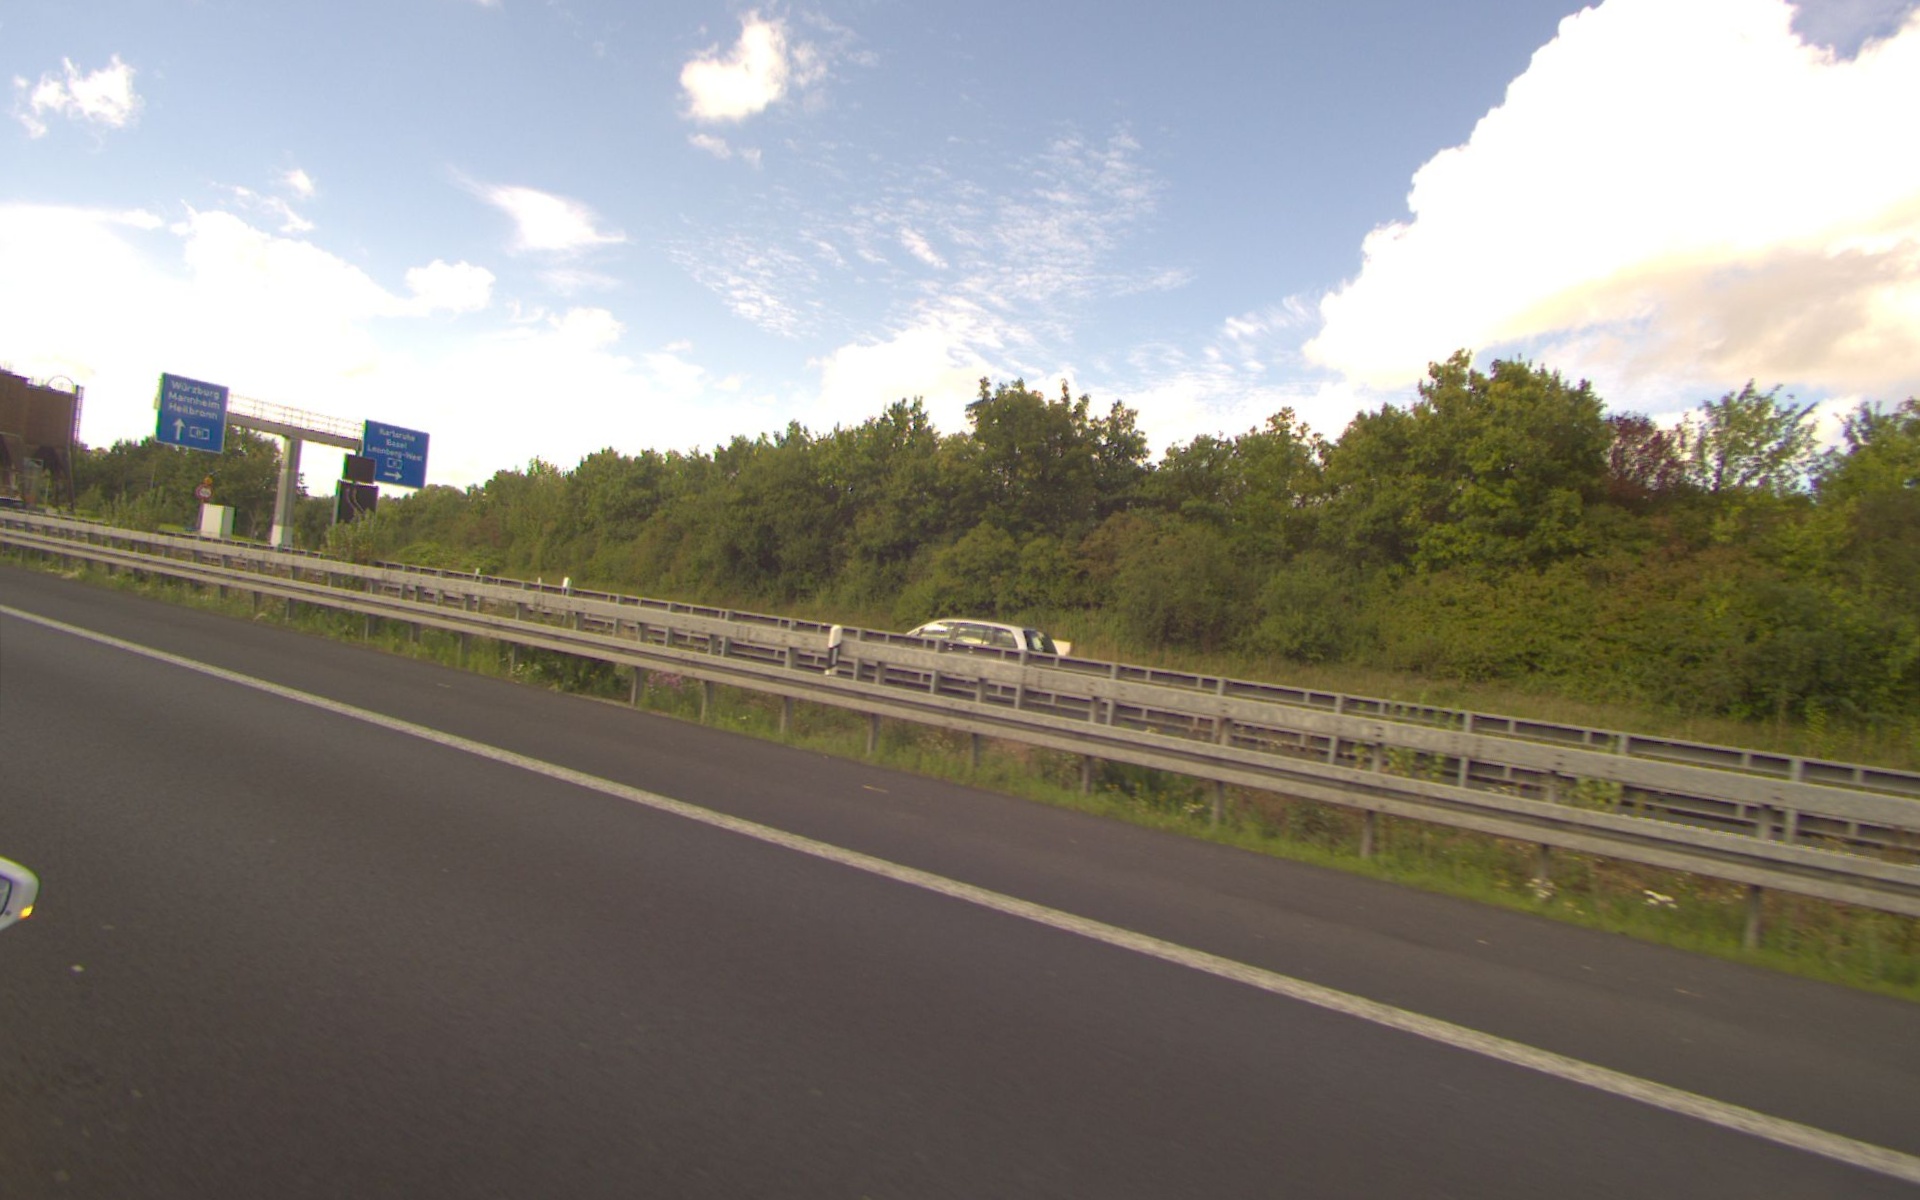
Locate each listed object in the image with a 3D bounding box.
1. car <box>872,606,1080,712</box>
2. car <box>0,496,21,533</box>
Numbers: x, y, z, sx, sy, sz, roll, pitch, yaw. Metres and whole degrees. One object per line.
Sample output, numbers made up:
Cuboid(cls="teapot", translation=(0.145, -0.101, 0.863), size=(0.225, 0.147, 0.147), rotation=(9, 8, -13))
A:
Cuboid(cls="car", translation=(0.323, 1.223, 21.831), size=(3.933, 1.730, 1.995), rotation=(6, 1, 31))
Cuboid(cls="car", translation=(-49.645, -4.512, 50.942), size=(3.933, 1.739, 1.995), rotation=(6, 1, 31))
